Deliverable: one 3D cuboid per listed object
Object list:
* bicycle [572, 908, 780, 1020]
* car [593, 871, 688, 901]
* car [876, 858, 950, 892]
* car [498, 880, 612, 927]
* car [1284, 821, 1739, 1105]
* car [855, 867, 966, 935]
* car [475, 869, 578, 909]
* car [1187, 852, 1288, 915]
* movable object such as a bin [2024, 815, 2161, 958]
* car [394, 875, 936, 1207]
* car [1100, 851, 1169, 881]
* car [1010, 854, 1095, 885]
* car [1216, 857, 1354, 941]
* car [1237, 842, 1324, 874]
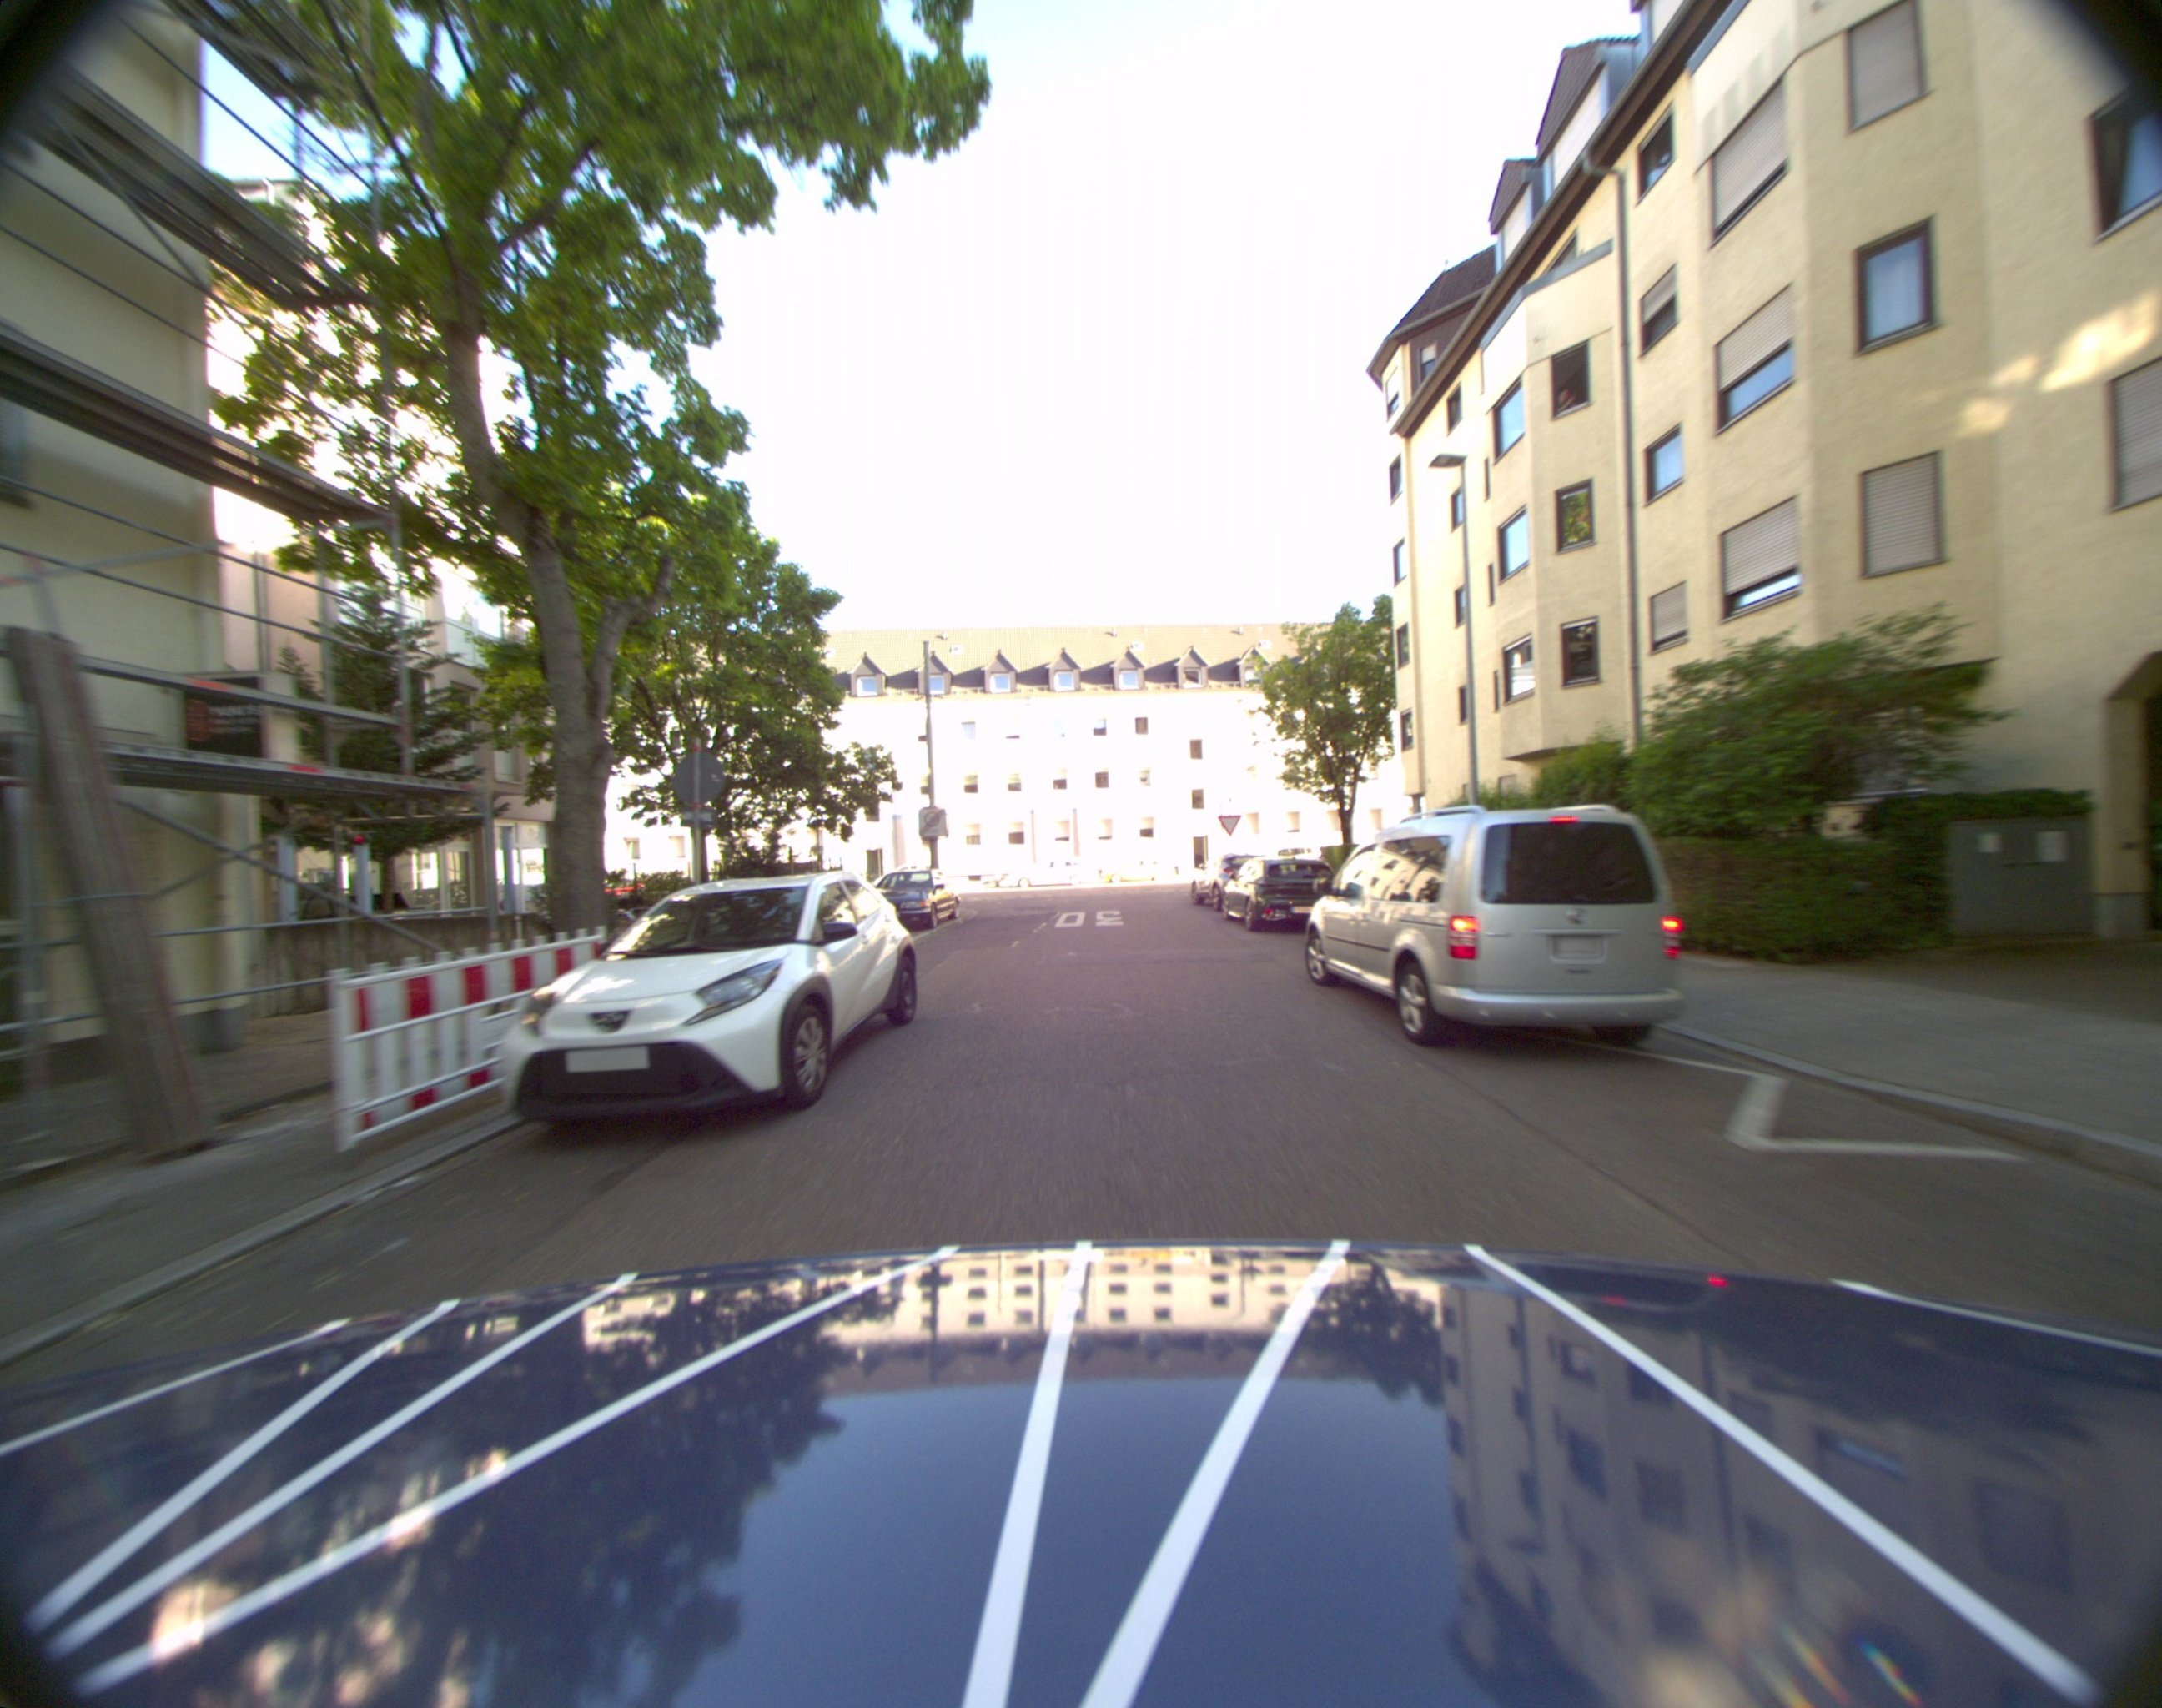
[{"bbox_3d":[-4.568,1.219,8.717,1.973,1.148,0.751,1,1,-13],"label":"bicycle"},{"bbox_3d":[-23.224,1.668,40.163,3.999,1.344,1.550,-2,1,-5],"label":"car"},{"bbox_3d":[-9.070,1.098,41.230,3.706,1.598,1.648,-3,1,-6],"label":"car"},{"bbox_3d":[-18.071,1.690,26.185,2.880,1.348,1.261,-3,2,-9],"label":"car"},{"bbox_3d":[3.366,0.681,7.115,1.775,1.832,4.415,0,1,0],"label":"car"},{"bbox_3d":[-4.140,1.078,19.146,1.665,1.399,4.507,1,0,1],"label":"car"},{"bbox_3d":[-28.942,1.809,39.766,3.998,1.771,1.694,-3,0,-5],"label":"car"},{"bbox_3d":[4.194,0.730,20.998,1.724,1.546,4.072,0,0,-4],"label":"car"},{"bbox_3d":[11.538,0.301,8.014,1.475,1.423,1.343,-2,1,2],"label":"movable object such as a bin"},{"bbox_3d":[-2.558,1.041,5.941,1.806,1.526,3.965,-3,0,3],"label":"car"},{"bbox_3d":[2.959,0.651,42.426,3.613,1.440,1.553,-3,2,-6],"label":"car"},{"bbox_3d":[-1.595,0.833,41.971,4.492,1.498,1.944,-3,0,-4],"label":"car"},{"bbox_3d":[4.008,0.807,15.649,1.770,1.444,4.207,1,0,1],"label":"car"},{"bbox_3d":[11.319,0.224,43.290,4.285,1.548,1.999,-3,0,-7],"label":"car"}]
